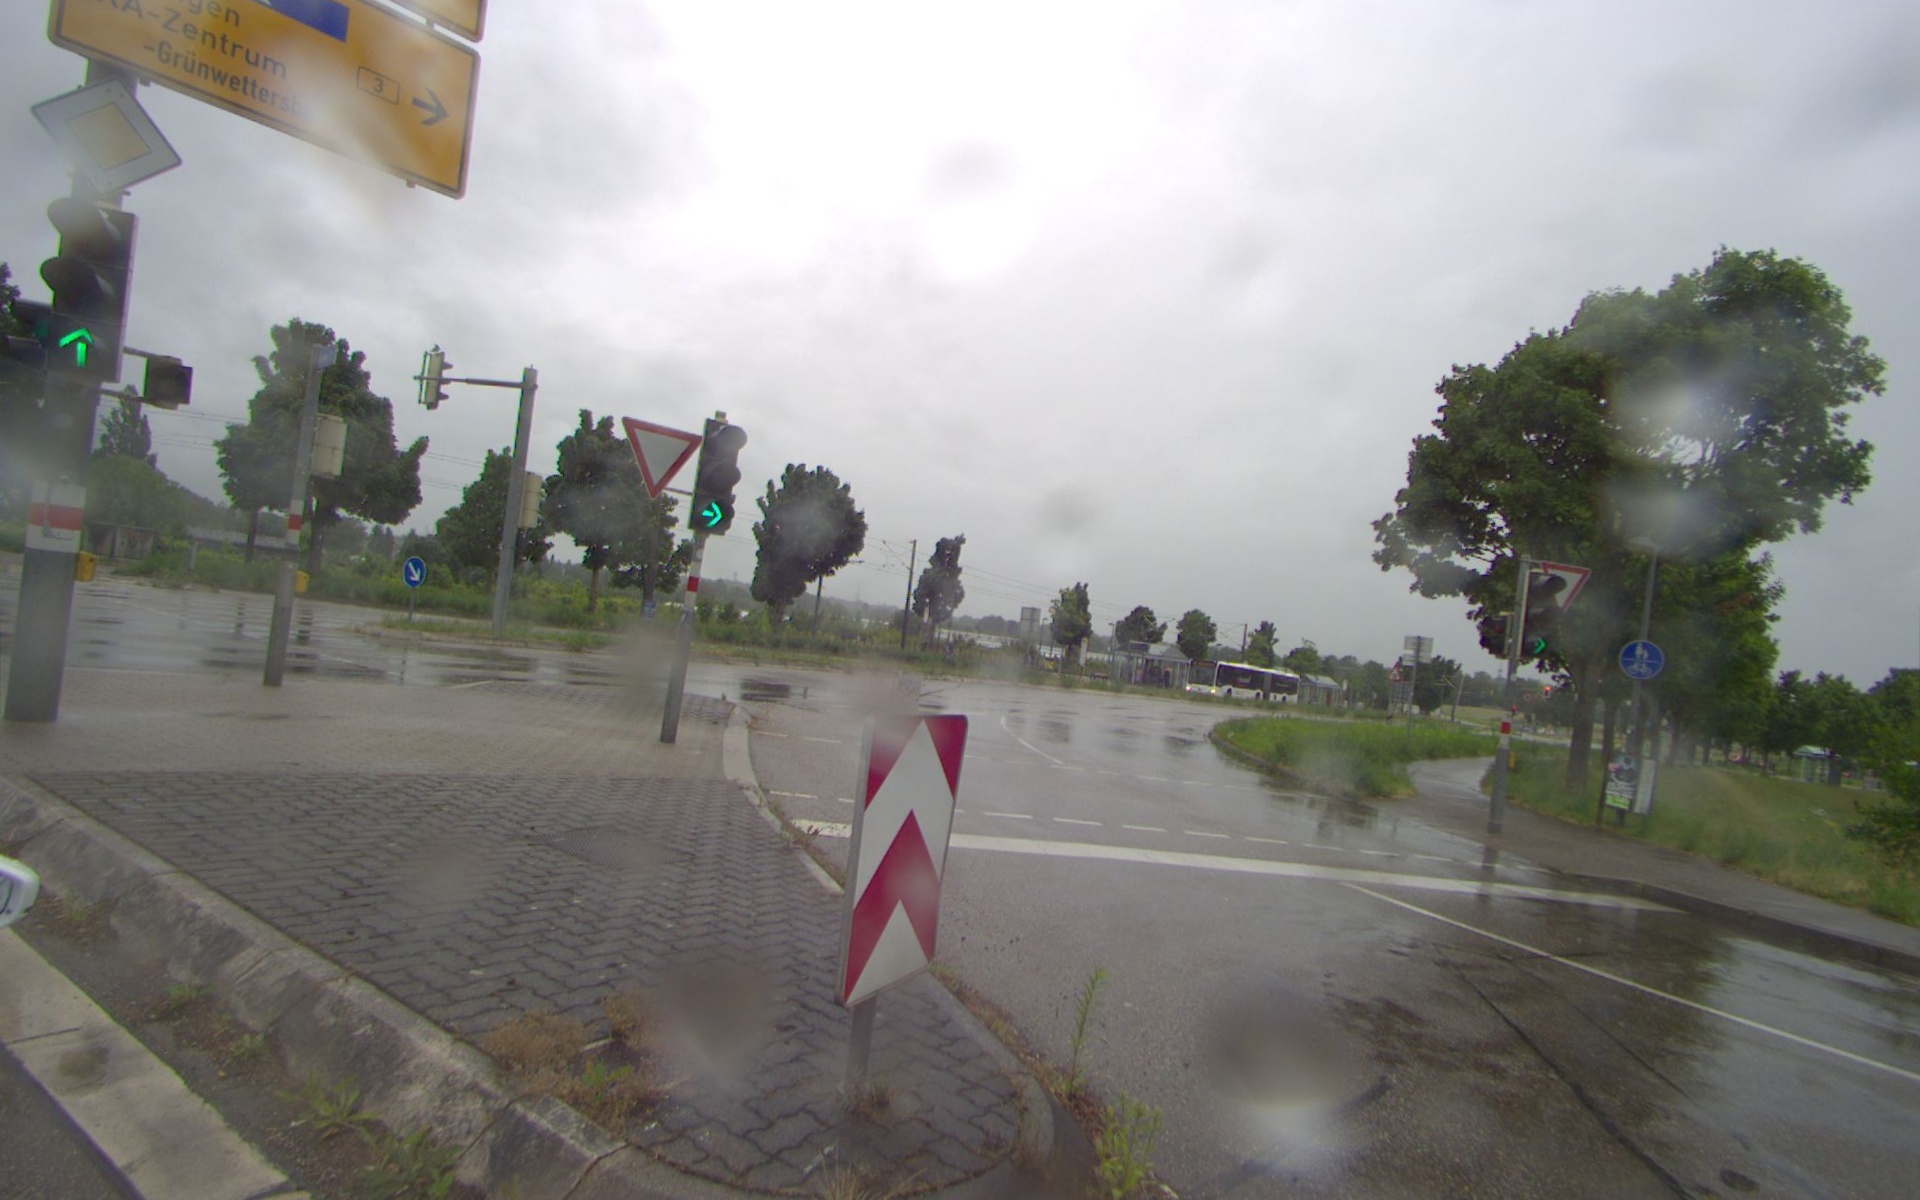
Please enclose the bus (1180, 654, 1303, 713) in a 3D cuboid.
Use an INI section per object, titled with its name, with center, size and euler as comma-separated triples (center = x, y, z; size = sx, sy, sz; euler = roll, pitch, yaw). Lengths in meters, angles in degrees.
[bus]
center = 23.773, 7.116, 83.677
size = 2.715, 3.828, 18.379
euler = 7, -2, 38
